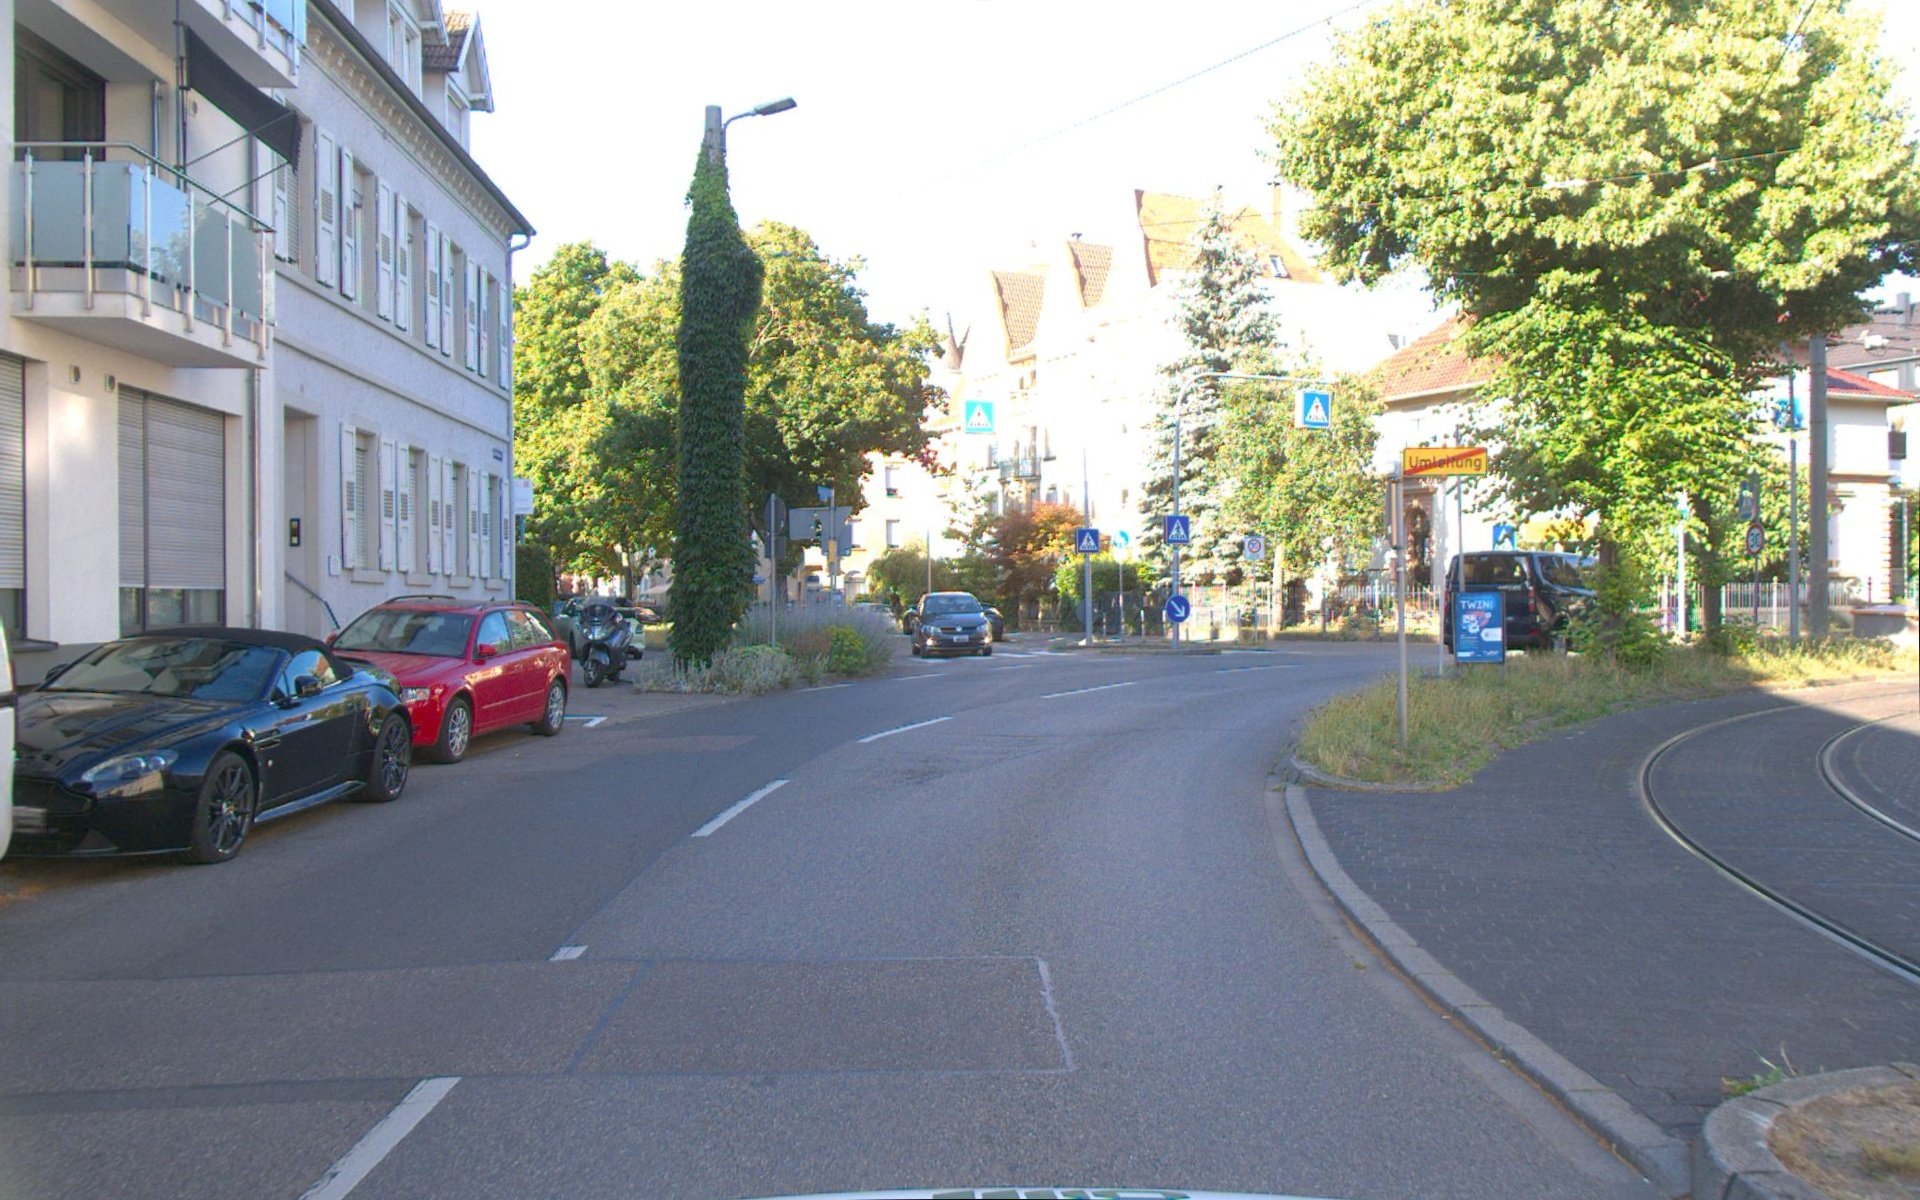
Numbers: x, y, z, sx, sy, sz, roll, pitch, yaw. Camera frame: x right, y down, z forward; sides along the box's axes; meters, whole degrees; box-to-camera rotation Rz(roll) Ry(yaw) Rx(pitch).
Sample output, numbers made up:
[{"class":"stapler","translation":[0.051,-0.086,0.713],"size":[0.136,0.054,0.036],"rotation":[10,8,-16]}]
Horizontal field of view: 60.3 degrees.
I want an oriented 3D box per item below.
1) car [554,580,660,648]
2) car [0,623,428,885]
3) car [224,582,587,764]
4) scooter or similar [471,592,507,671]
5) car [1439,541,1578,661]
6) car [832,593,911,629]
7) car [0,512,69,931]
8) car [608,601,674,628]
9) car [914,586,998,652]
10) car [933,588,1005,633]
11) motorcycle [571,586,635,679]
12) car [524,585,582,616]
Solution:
[{"class":"car","translation":[-8.713,0.333,40.643],"size":[1.784,1.563,3.881],"rotation":[1,0,-24]},{"class":"car","translation":[-4.987,0.844,10.766],"size":[1.630,1.296,4.026],"rotation":[2,0,1]},{"class":"car","translation":[-5.328,0.604,16.613],"size":[1.673,1.492,4.595],"rotation":[2,1,6]},{"class":"scooter or similar","translation":[-7.690,0.505,26.970],"size":[0.500,1.251,1.533],"rotation":[1,0,-18]},{"class":"car","translation":[10.104,-0.009,30.312],"size":[1.954,2.049,3.997],"rotation":[1,1,25]},{"class":"car","translation":[-4.244,0.513,78.620],"size":[2.307,1.624,4.897],"rotation":[1,0,-21]},{"class":"car","translation":[-5.097,0.516,5.806],"size":[1.775,1.902,4.328],"rotation":[2,0,-4]},{"class":"car","translation":[-20.403,0.896,105.531],"size":[2.321,1.624,4.867],"rotation":[1,0,-36]},{"class":"car","translation":[-0.145,0.408,38.573],"size":[1.679,1.428,3.735],"rotation":[-1,0,-4]},{"class":"car","translation":[0.300,0.392,63.070],"size":[1.958,1.624,3.988],"rotation":[1,0,-12]},{"class":"motorcycle","translation":[-5.624,0.487,26.075],"size":[0.914,1.381,2.556],"rotation":[1,0,-12]},{"class":"car","translation":[-28.324,0.034,114.989],"size":[2.321,2.076,4.867],"rotation":[1,0,-36]}]
